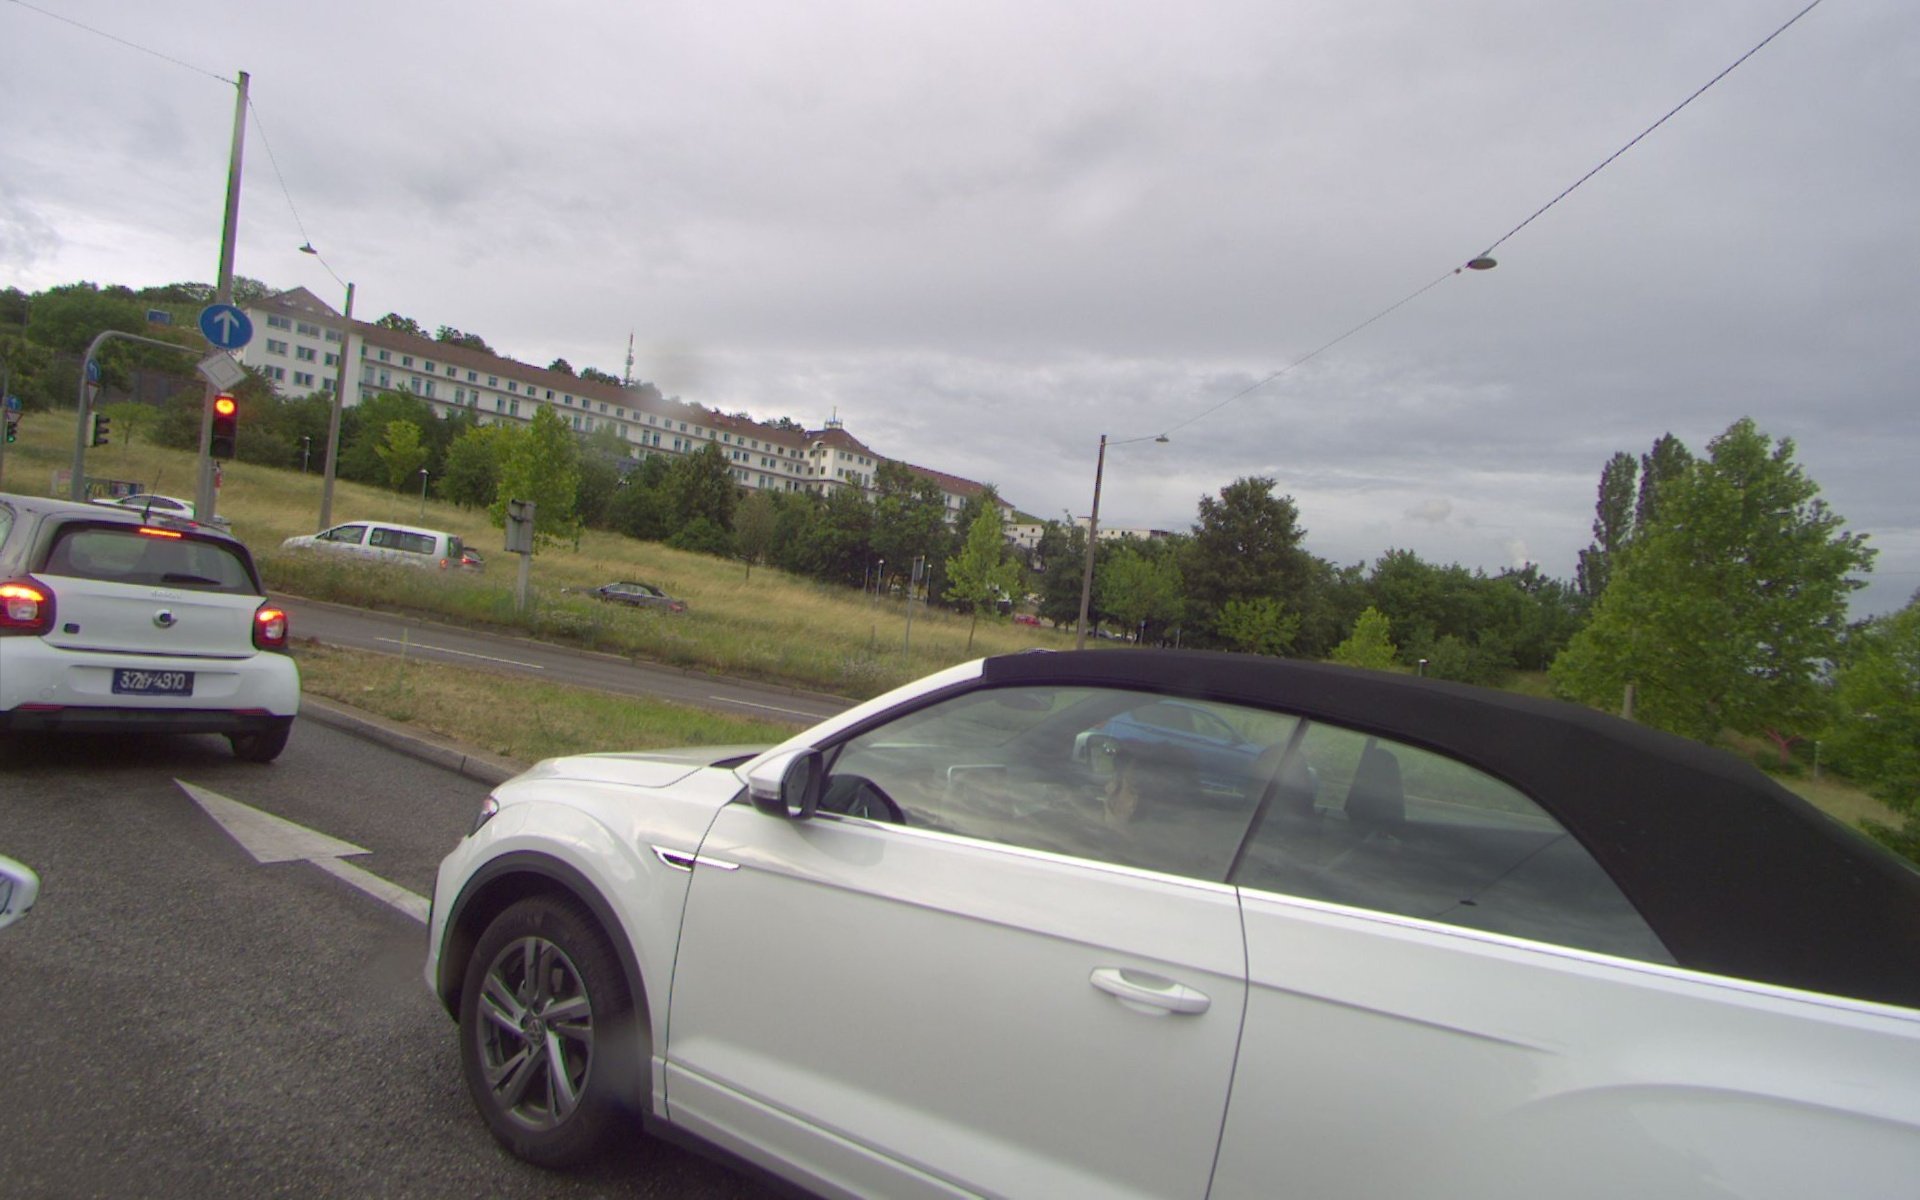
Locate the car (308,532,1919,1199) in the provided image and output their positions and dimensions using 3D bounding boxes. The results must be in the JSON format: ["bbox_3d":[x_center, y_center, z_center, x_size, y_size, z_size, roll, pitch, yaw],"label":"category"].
[{"bbox_3d":[0.433,0.861,2.646,4.157,1.571,1.718,6,-2,29],"label":"car"}]

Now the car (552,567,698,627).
[{"bbox_3d":[-11.920,-0.074,36.032,4.422,1.494,2.000,7,-2,-3],"label":"car"}]

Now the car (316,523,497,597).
[{"bbox_3d":[-17.463,-1.228,31.949,4.449,1.639,1.998,8,-2,-9],"label":"car"}]

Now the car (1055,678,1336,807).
[{"bbox_3d":[3.876,2.360,17.034,4.214,1.492,1.701,7,-2,-1],"label":"car"}]

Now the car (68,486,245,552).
[{"bbox_3d":[-28.032,-2.787,35.224,4.342,1.494,2.000,8,-2,-4],"label":"car"}]

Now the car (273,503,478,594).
[{"bbox_3d":[-16.844,-1.444,29.223,4.621,1.871,1.819,8,-2,-11],"label":"car"}]

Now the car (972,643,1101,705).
[{"bbox_3d":[2.763,2.690,37.088,4.342,1.655,2.000,8,-2,-4],"label":"car"}]

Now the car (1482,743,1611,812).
[{"bbox_3d":[23.533,7.117,40.431,3.932,2.037,1.998,8,-2,-8],"label":"car"}]

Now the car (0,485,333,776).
[{"bbox_3d":[-5.982,0.104,6.841,3.398,1.520,1.659,6,-2,36],"label":"car"}]
